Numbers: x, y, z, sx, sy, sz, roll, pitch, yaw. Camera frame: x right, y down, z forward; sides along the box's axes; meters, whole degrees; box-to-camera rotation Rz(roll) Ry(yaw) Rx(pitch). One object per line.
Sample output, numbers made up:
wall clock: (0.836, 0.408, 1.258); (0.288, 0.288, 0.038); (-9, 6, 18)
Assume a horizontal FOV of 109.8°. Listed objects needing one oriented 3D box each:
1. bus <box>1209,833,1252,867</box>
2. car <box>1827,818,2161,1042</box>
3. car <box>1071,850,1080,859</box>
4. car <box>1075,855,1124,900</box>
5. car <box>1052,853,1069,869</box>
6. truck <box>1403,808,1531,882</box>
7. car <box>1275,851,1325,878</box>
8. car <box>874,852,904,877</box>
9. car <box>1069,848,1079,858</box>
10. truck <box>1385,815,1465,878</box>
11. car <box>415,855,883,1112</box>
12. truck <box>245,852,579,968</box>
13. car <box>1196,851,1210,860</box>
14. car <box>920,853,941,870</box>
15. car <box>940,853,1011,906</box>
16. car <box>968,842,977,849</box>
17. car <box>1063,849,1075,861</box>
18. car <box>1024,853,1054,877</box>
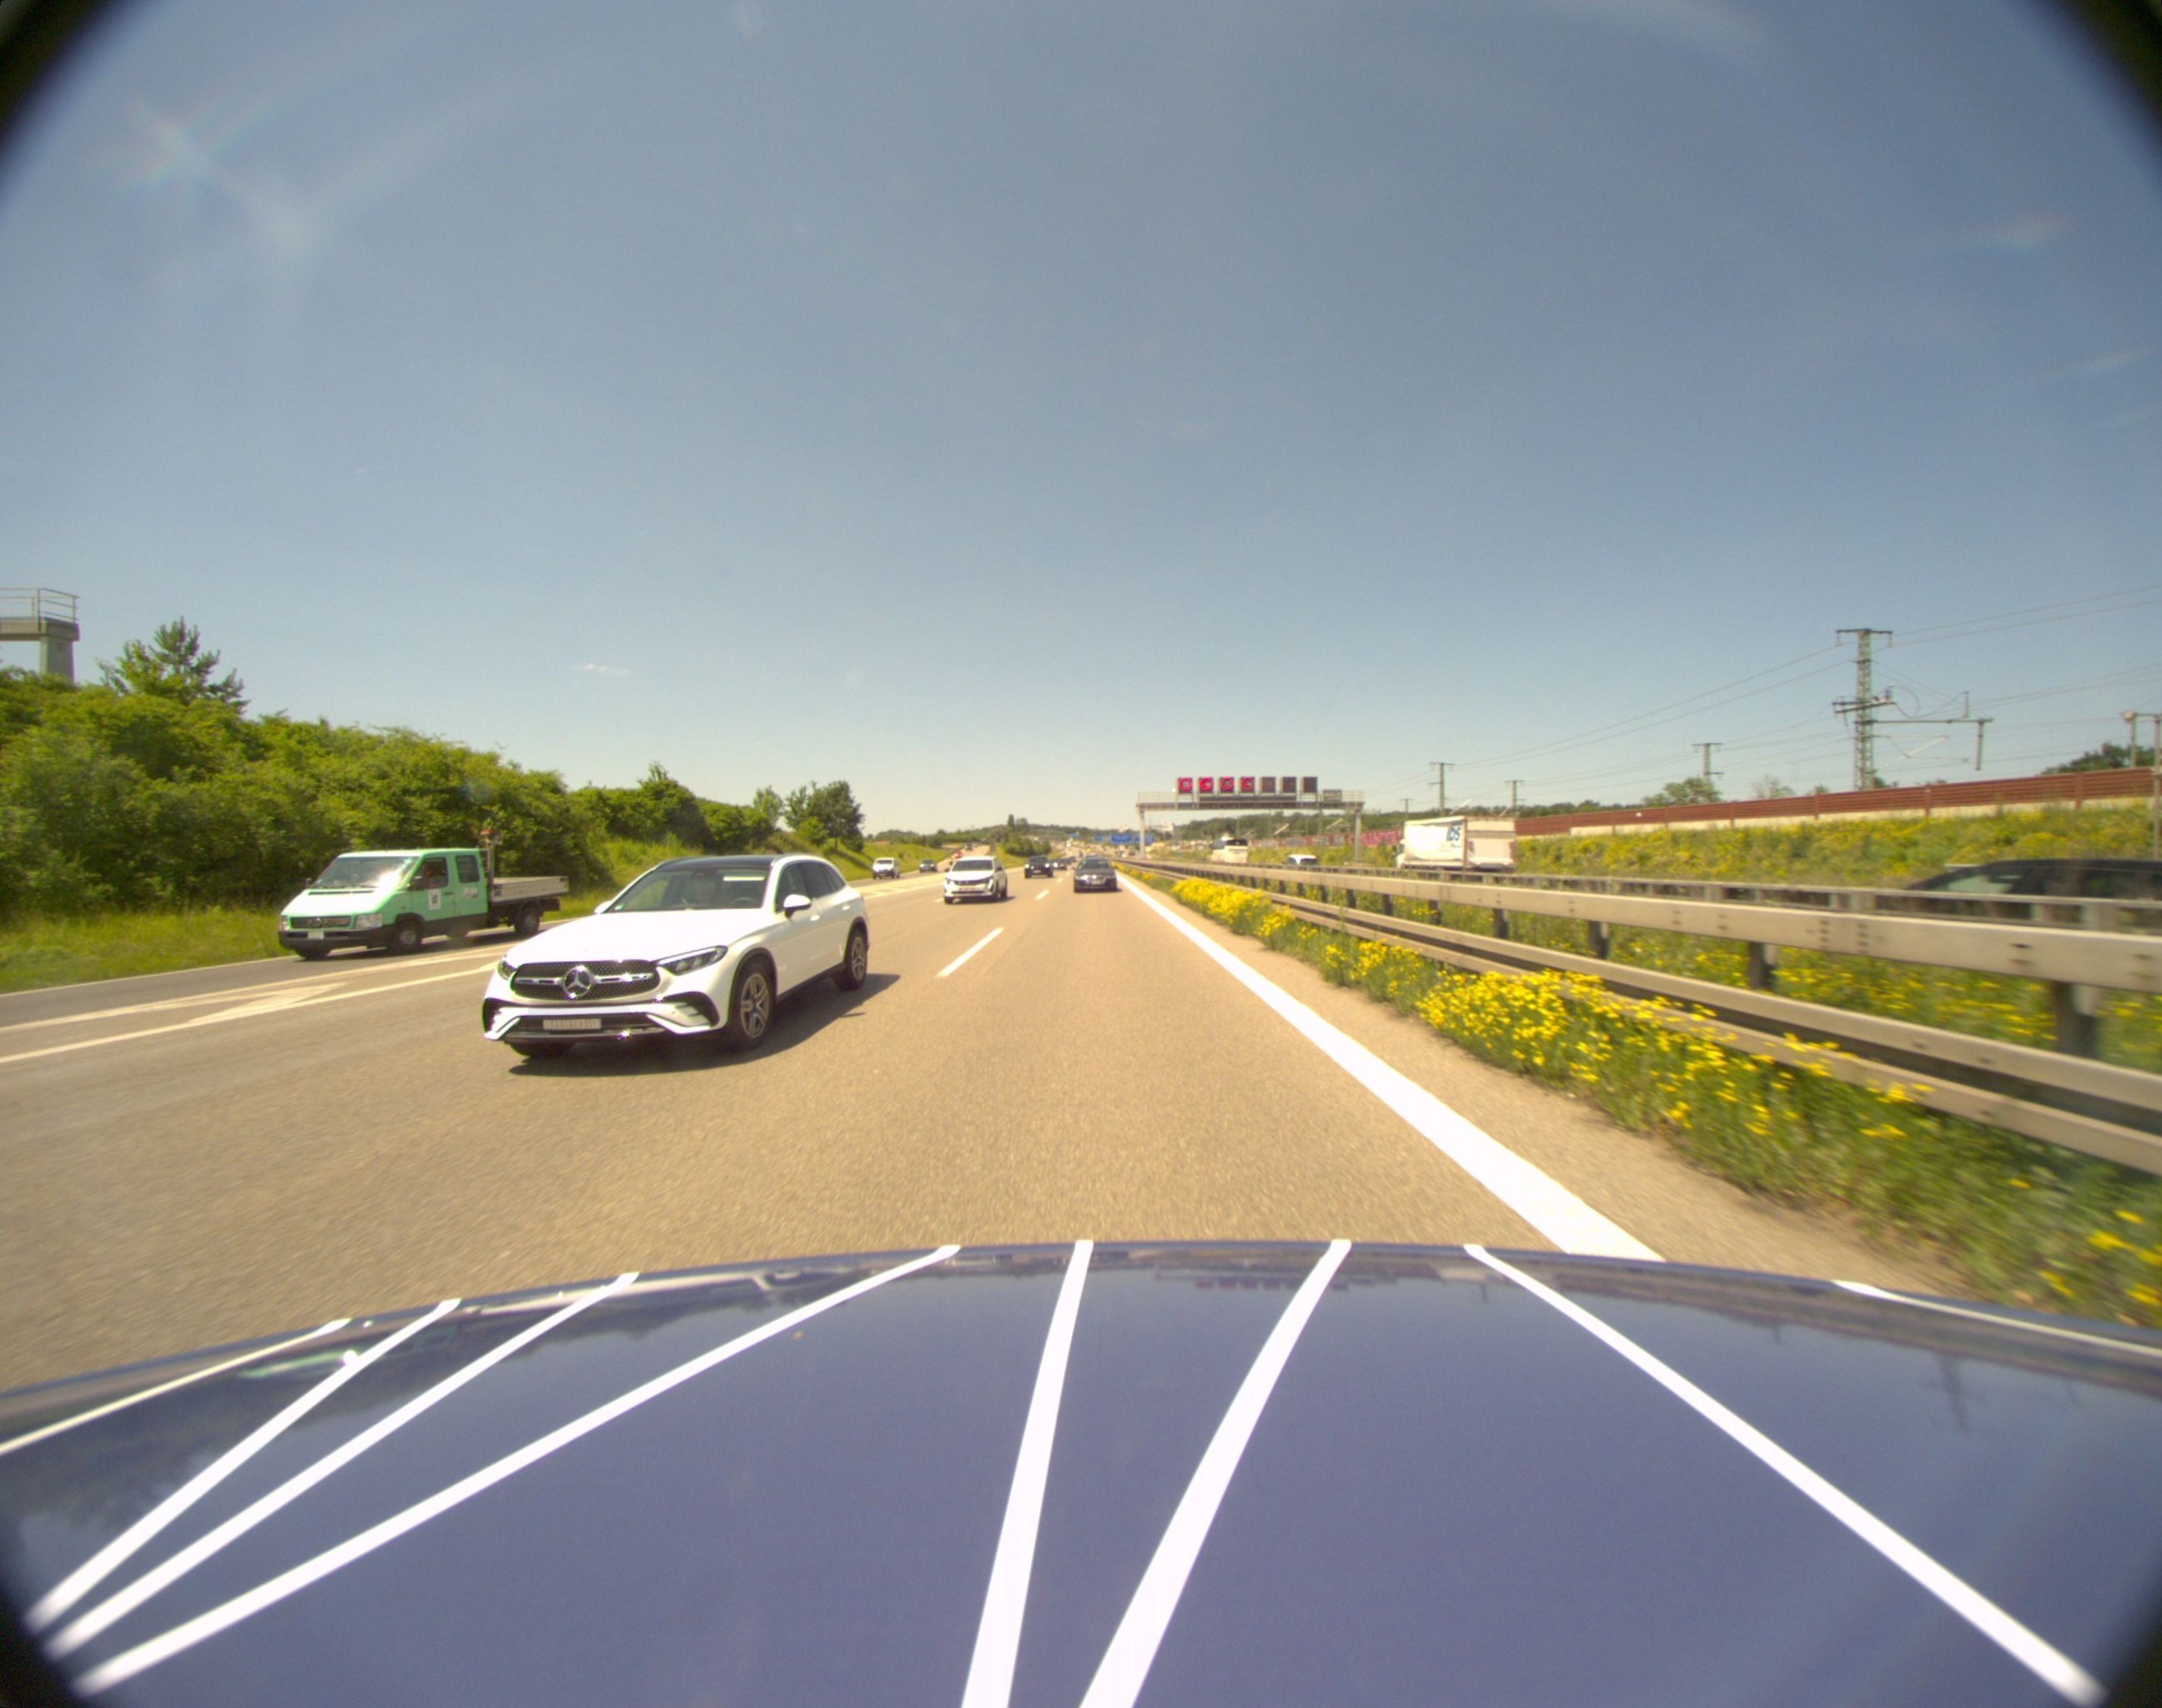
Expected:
bus: (17.455, -0.469, 89.359); (2.864, 3.624, 10.940); (-3, 0, 1)
car: (9.228, 0.558, 6.403); (1.998, 1.710, 4.000); (-1, 0, 1)
car: (-1.282, 0.116, 189.885); (1.998, 2.002, 3.999); (-3, 2, 1)
car: (0.662, 0.848, 29.691); (1.752, 1.462, 3.998); (-2, 2, 0)
car: (-2.301, 0.741, 83.006); (1.752, 1.462, 3.998); (-2, 2, -2)
truck: (20.307, -0.425, 40.624); (2.864, 3.446, 7.780); (-3, 0, 1)
car: (13.415, 0.617, 46.772); (1.925, 1.601, 4.000); (1, 0, 1)
car: (-17.705, 0.913, 70.421); (2.000, 2.159, 4.890); (-1, 0, -7)
car: (-1.582, -0.193, 170.120); (1.999, 2.002, 3.999); (-2, 1, 0)
truck: (20.402, -0.451, 45.243); (2.855, 3.446, 4.023); (-3, 0, 1)
car: (-3.597, 0.905, 7.592); (1.909, 1.646, 4.636); (-2, 1, 1)
truck: (-14.296, 1.020, 17.013); (2.170, 2.080, 6.117); (-1, 0, -2)
car: (19.982, 0.230, 124.555); (1.696, 1.465, 4.000); (1, 0, 1)
car: (-19.644, 0.935, 99.280); (1.999, 2.002, 3.998); (-3, 2, -3)
car: (-3.738, 0.847, 27.716); (1.898, 1.620, 4.616); (-2, 1, 0)
car: (-30.407, -2.408, 213.607); (1.983, 1.620, 4.615); (-2, 1, -1)
car: (-2.118, 0.133, 134.244); (1.999, 2.002, 3.999); (-2, 1, 0)
car: (-3.112, 0.782, 56.735); (1.983, 1.620, 4.615); (-2, 1, -1)
